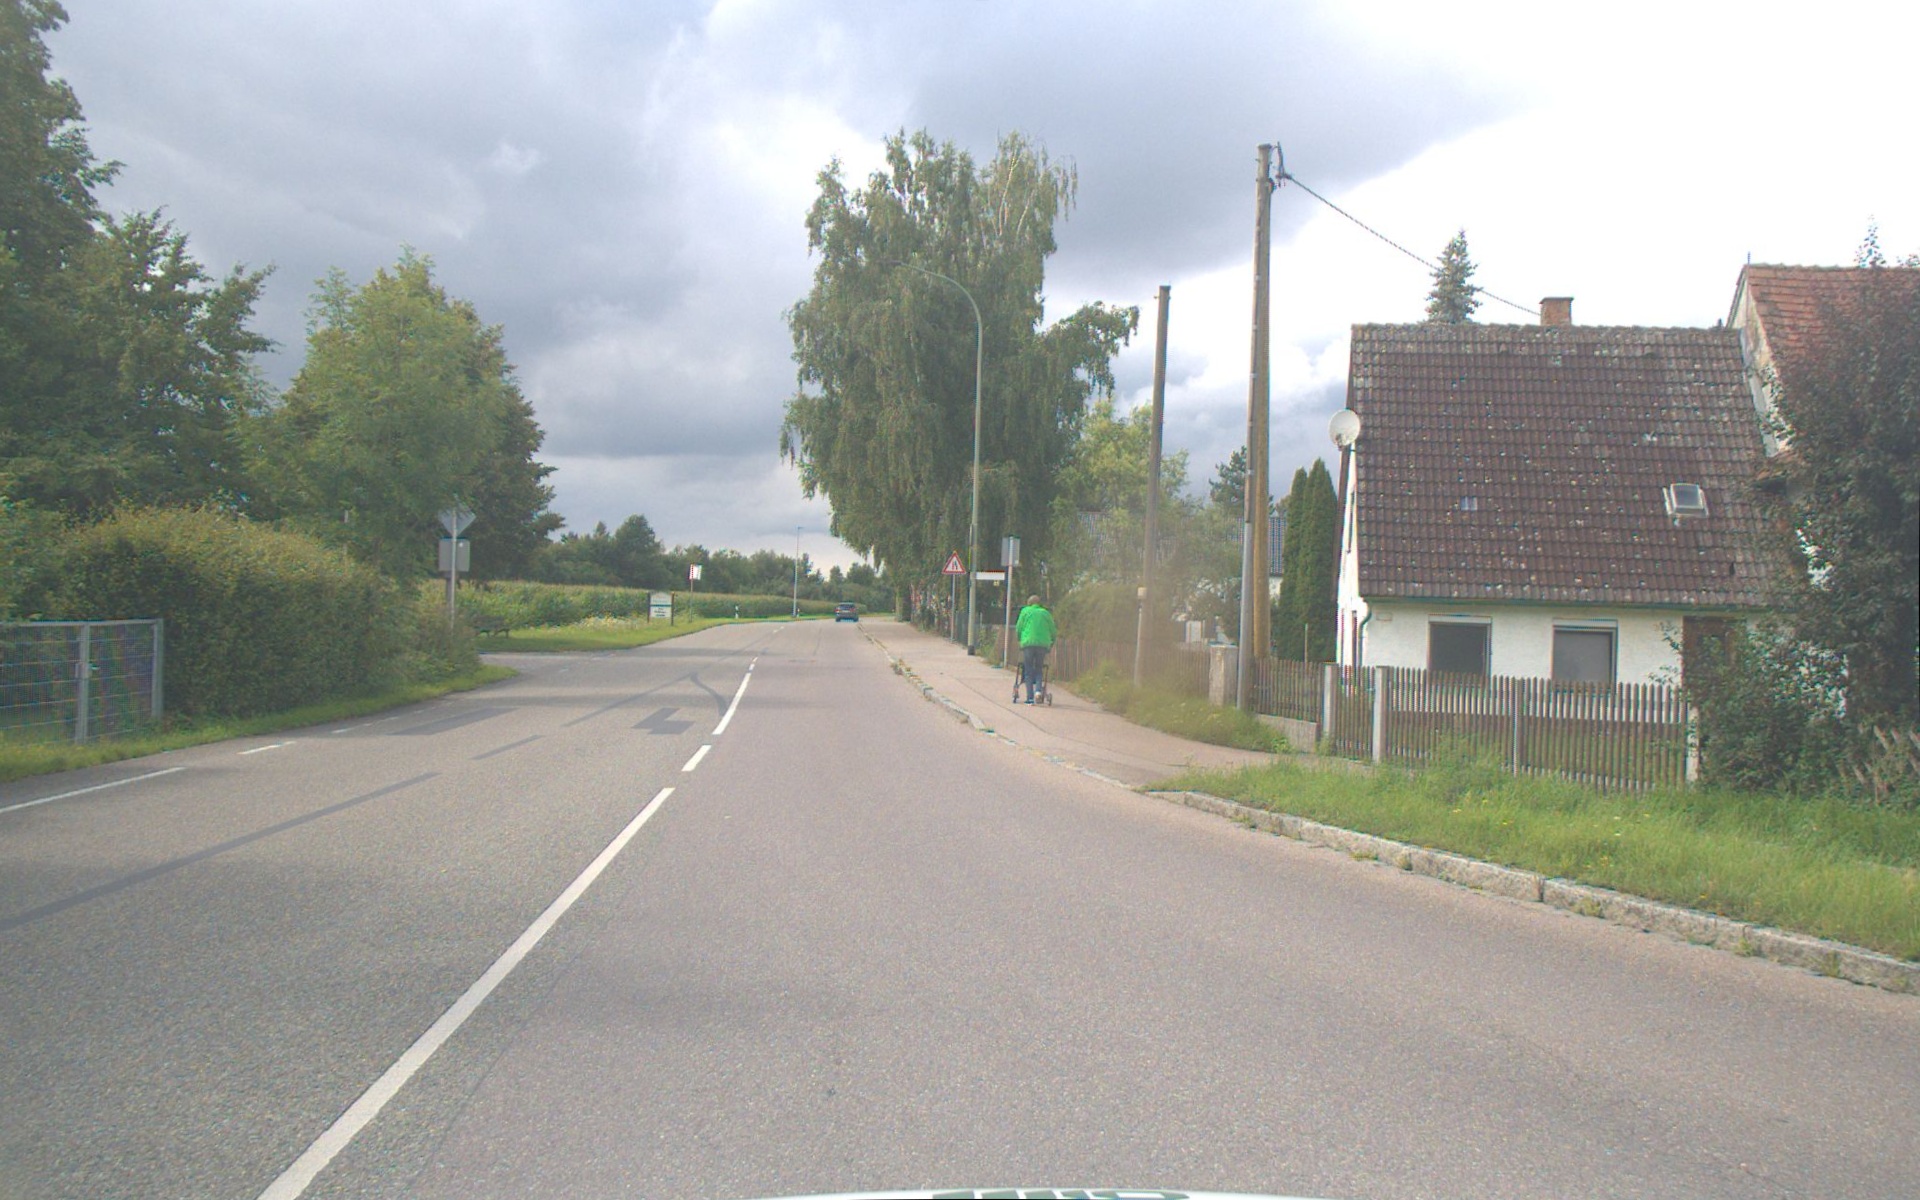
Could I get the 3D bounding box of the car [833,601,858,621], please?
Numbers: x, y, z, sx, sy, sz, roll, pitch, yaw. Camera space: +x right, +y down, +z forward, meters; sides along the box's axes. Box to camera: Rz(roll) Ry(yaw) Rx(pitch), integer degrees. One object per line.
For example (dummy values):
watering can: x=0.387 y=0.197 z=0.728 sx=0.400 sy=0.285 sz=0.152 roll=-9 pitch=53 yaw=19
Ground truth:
car: x=-9.821 y=0.934 z=142.002 sx=1.955 sy=1.579 sz=3.995 roll=2 pitch=0 yaw=-6

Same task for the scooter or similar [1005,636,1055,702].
scooter or similar: x=1.124 y=1.107 z=26.546 sx=0.619 sy=0.964 sz=0.621 roll=6 pitch=0 yaw=-8

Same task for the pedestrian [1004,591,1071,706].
pedestrian: x=1.205 y=0.751 z=25.876 sx=0.774 sy=1.693 sz=0.711 roll=6 pitch=-1 yaw=-8
